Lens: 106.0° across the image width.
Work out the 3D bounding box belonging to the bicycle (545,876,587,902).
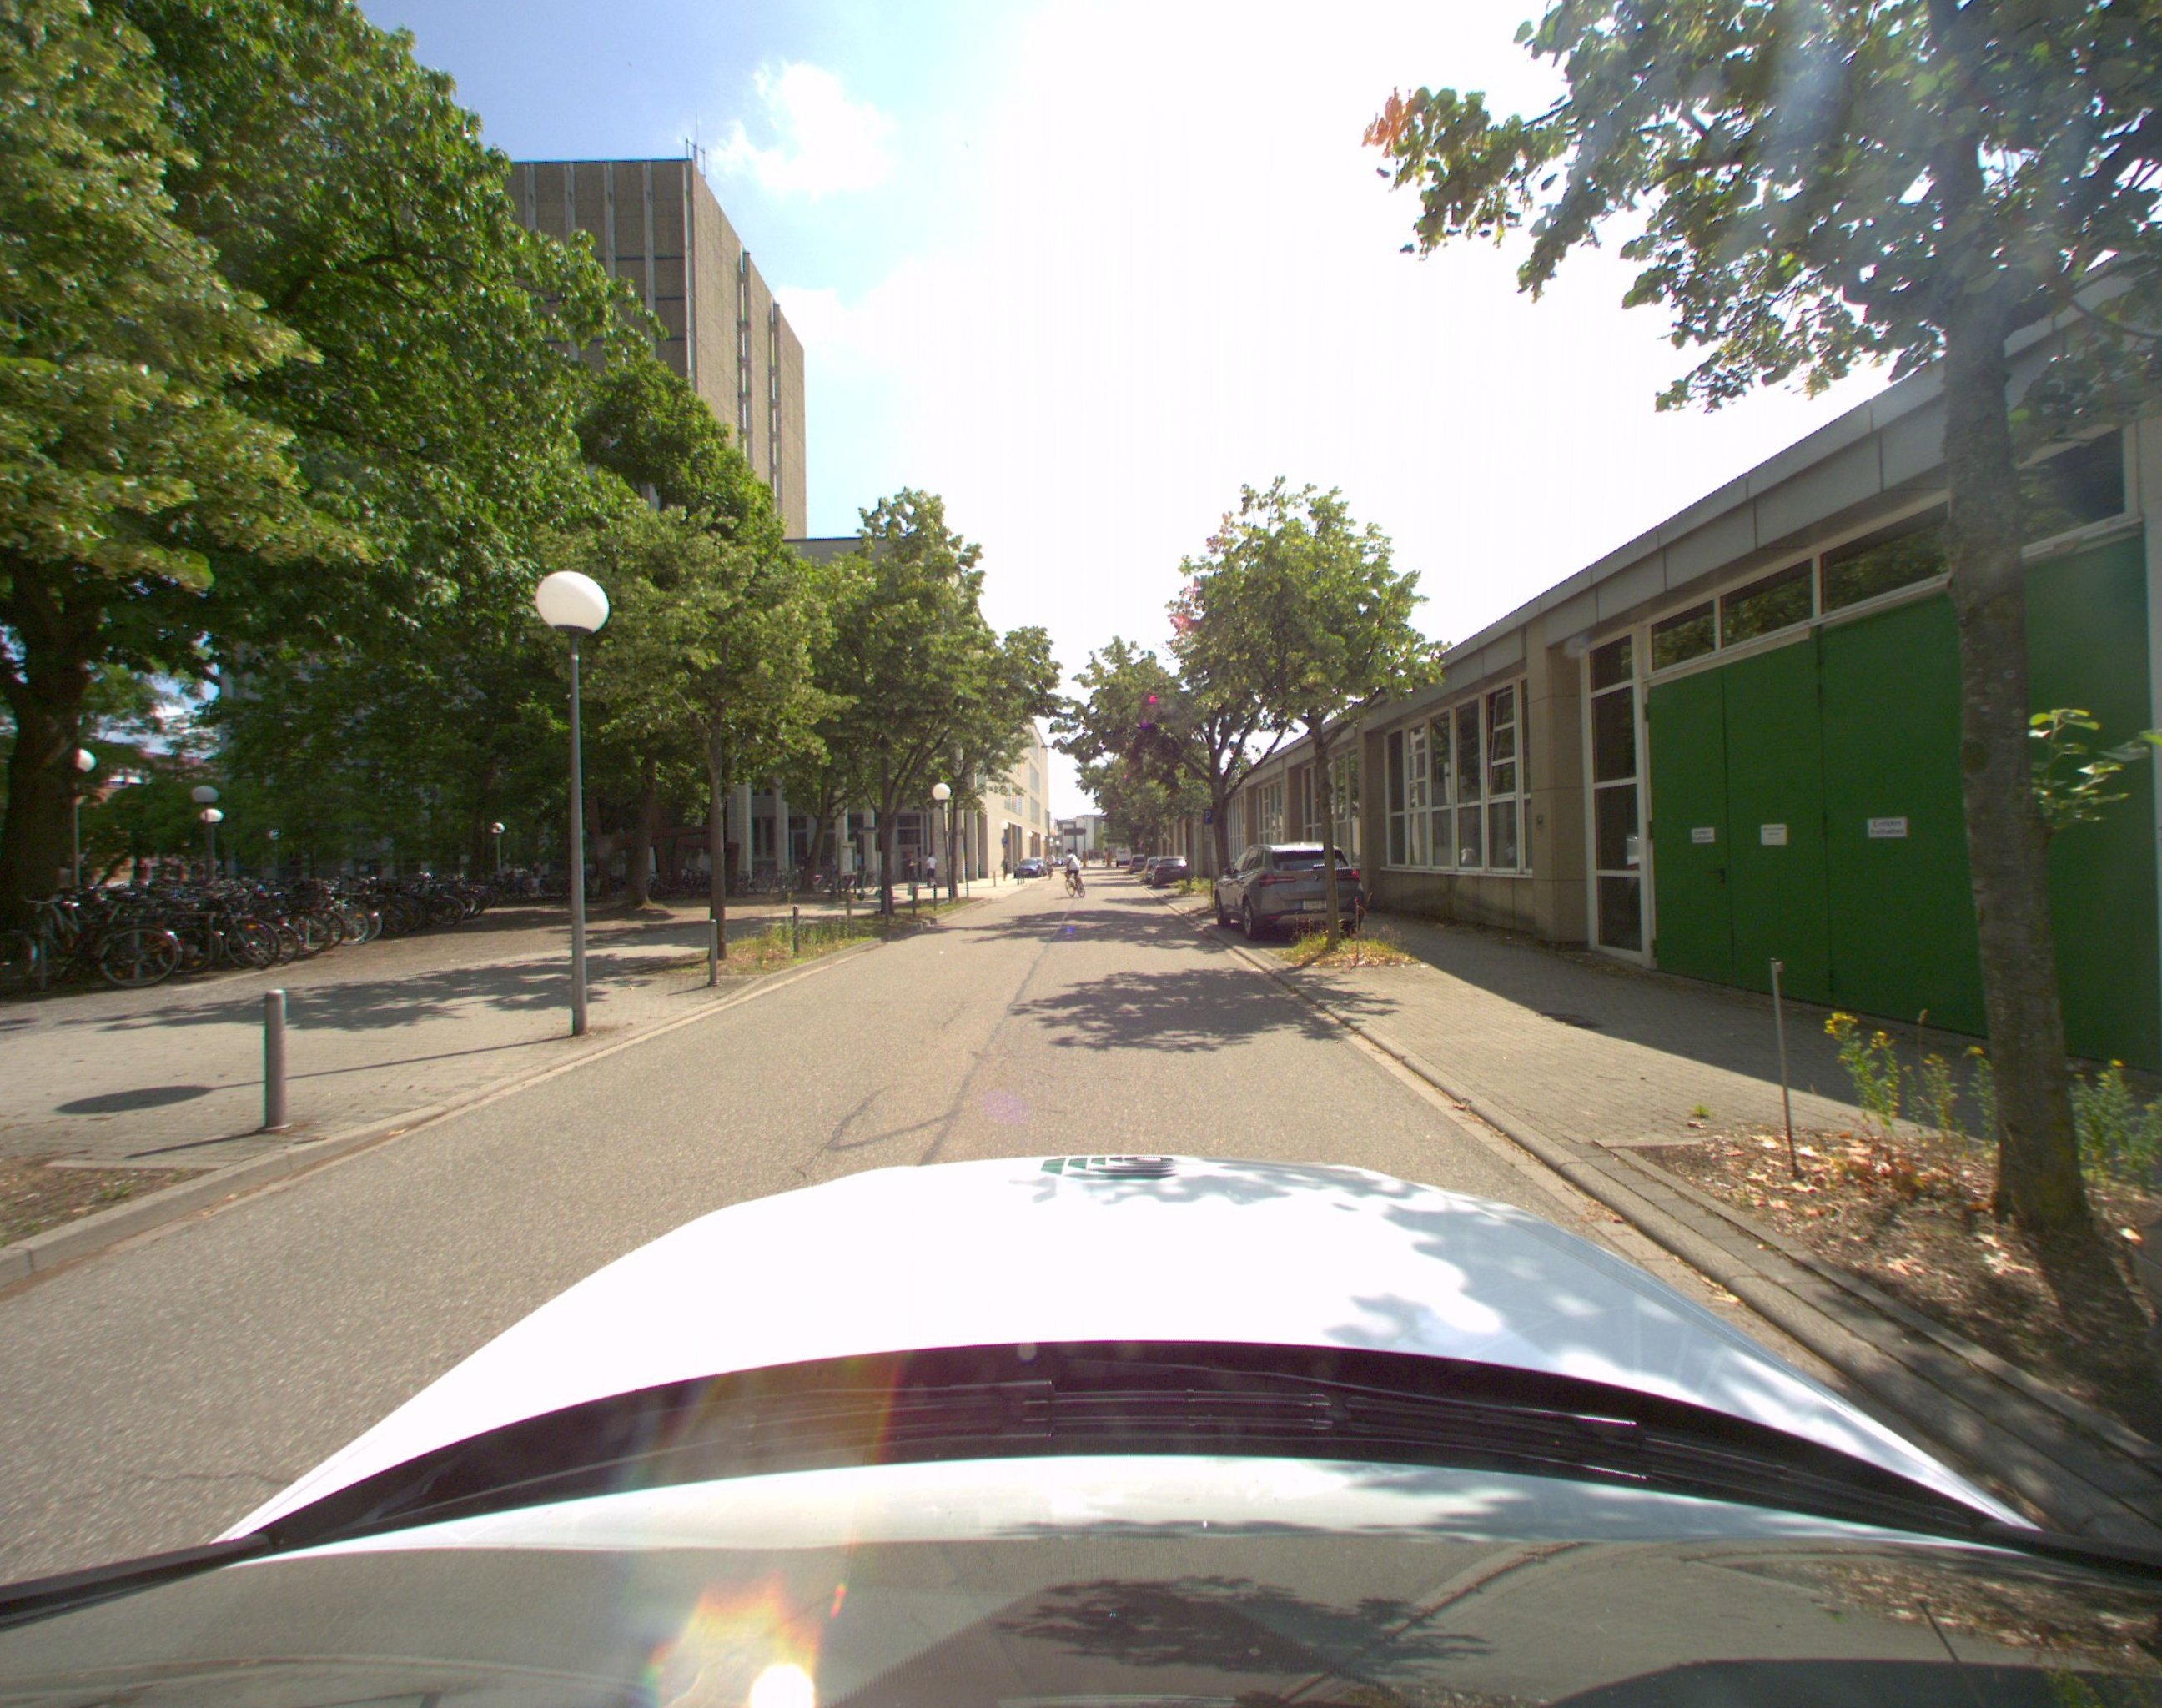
[{"bbox_3d":[-23.098,1.549,36.547,0.550,1.086,1.973,1,0,1],"label":"bicycle"}]

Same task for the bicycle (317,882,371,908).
[{"bbox_3d":[-32.752,1.815,36.240,0.550,1.086,1.973,1,0,1],"label":"bicycle"}]

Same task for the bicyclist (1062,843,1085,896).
[{"bbox_3d":[-0.297,0.582,31.405,0.871,2.014,0.849,-1,-1,-2],"label":"bicyclist"}]

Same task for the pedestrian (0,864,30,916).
[{"bbox_3d":[-35.613,1.185,27.207,0.414,1.714,0.539,0,-1,-29],"label":"pedestrian"}]

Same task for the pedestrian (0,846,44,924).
[{"bbox_3d":[-26.762,0.774,20.485,0.650,1.934,0.689,0,0,-34],"label":"pedestrian"}]

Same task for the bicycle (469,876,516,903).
[{"bbox_3d":[-25.841,1.543,35.801,0.550,1.086,1.973,1,0,1],"label":"bicycle"}]

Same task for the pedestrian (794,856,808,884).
[{"bbox_3d":[-16.997,0.984,49.416,0.638,1.661,0.687,-1,-1,-35],"label":"pedestrian"}]

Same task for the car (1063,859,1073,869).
[{"bbox_3d":[-2.237,1.696,139.886,1.640,1.498,3.729,-2,-2,1],"label":"car"}]

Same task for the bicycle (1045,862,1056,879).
[{"bbox_3d":[-2.133,1.172,57.782,0.683,1.130,1.888,-2,0,-1],"label":"bicycle"}]

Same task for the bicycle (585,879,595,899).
[{"bbox_3d":[-20.129,1.433,33.352,0.324,0.763,1.544,0,0,-32],"label":"bicycle"}]

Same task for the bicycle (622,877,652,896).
[{"bbox_3d":[-24.236,1.762,44.522,0.523,0.946,1.994,-1,0,1],"label":"bicycle"}]

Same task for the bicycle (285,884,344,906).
[{"bbox_3d":[-34.095,1.827,36.261,0.417,0.875,2.285,0,0,1],"label":"bicycle"}]

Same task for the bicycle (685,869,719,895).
[{"bbox_3d":[-15.649,1.146,33.656,0.473,1.032,1.851,-1,0,2],"label":"bicycle"}]

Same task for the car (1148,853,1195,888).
[{"bbox_3d":[4.269,0.756,39.088,1.774,1.476,4.463,-3,0,1],"label":"car"}]

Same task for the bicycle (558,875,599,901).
[{"bbox_3d":[-22.449,1.526,36.436,0.550,1.086,1.973,1,0,1],"label":"bicycle"}]

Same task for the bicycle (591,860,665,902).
[{"bbox_3d":[-16.303,0.945,29.322,2.298,1.450,0.601,-1,-1,-32],"label":"bicycle"}]

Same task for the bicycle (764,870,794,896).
[{"bbox_3d":[-13.424,1.261,36.260,0.550,1.086,1.973,1,0,1],"label":"bicycle"}]

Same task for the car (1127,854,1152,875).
[{"bbox_3d":[4.801,0.842,66.961,1.851,1.574,4.002,-3,0,2],"label":"car"}]

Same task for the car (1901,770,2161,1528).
[{"bbox_3d":[3.069,0.573,0.109,1.699,1.574,4.139,-2,0,0],"label":"car"}]

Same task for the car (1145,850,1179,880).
[{"bbox_3d":[4.402,0.601,44.762,1.610,1.538,3.781,-1,0,2],"label":"car"}]

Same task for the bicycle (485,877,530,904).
[{"bbox_3d":[-25.209,1.583,35.840,0.550,1.086,1.973,1,0,1],"label":"bicycle"}]

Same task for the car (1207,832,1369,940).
[{"bbox_3d":[3.707,0.567,15.485,1.817,1.664,4.582,-3,-1,0],"label":"car"}]

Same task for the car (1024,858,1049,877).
[{"bbox_3d":[-3.622,1.101,66.918,1.625,1.485,4.179,-1,-1,2],"label":"car"}]

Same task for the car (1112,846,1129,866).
[{"bbox_3d":[5.147,0.259,106.587,2.076,2.539,4.316,0,0,1],"label":"car"}]

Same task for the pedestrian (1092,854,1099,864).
[{"bbox_3d":[3.189,1.120,174.238,1.413,2.107,0.994,0,0,-2],"label":"pedestrian"}]

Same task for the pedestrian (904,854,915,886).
[{"bbox_3d":[-9.318,0.867,44.305,0.443,1.775,0.447,-1,-1,-29],"label":"pedestrian"}]

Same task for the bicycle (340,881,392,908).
[{"bbox_3d":[-32.007,1.803,36.500,0.550,1.086,1.973,1,0,1],"label":"bicycle"}]

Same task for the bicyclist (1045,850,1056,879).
[{"bbox_3d":[-2.156,0.739,57.716,0.709,2.013,1.018,-3,0,-1],"label":"bicyclist"}]

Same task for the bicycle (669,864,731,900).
[{"bbox_3d":[-14.285,1.028,30.556,2.028,1.254,0.581,-2,0,-31],"label":"bicycle"}]

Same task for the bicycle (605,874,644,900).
[{"bbox_3d":[-20.313,1.458,36.259,0.550,1.086,1.973,1,0,1],"label":"bicycle"}]

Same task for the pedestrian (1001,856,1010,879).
[{"bbox_3d":[-5.757,1.032,62.121,0.649,1.701,0.886,-1,-1,-9],"label":"pedestrian"}]

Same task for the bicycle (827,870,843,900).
[{"bbox_3d":[-8.985,1.125,29.778,0.382,1.025,1.808,-1,0,-11],"label":"bicycle"}]

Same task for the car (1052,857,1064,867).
[{"bbox_3d":[-3.542,1.300,127.767,1.640,1.498,3.729,-2,-2,1],"label":"car"}]

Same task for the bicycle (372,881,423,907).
[{"bbox_3d":[-30.594,1.762,36.485,0.550,1.086,1.973,1,0,1],"label":"bicycle"}]

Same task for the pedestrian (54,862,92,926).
[{"bbox_3d":[-32.370,1.263,26.150,0.528,2.014,0.595,-1,-1,16],"label":"pedestrian"}]

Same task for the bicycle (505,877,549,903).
[{"bbox_3d":[-24.363,1.560,35.849,0.550,1.086,1.973,1,0,1],"label":"bicycle"}]

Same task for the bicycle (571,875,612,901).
[{"bbox_3d":[-21.794,1.502,36.289,0.550,1.086,1.973,1,0,1],"label":"bicycle"}]

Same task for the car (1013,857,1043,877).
[{"bbox_3d":[-3.993,1.001,62.287,1.759,1.427,4.237,-1,-1,3],"label":"car"}]

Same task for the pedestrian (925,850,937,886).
[{"bbox_3d":[-8.042,0.745,43.665,0.415,1.942,0.657,0,-1,-28],"label":"pedestrian"}]

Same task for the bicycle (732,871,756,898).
[{"bbox_3d":[-12.981,1.153,31.389,0.475,0.965,1.651,-1,0,-10],"label":"bicycle"}]

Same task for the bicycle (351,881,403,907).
[{"bbox_3d":[-31.239,1.769,36.175,0.550,1.086,1.973,1,0,1],"label":"bicycle"}]

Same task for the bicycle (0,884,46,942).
[{"bbox_3d":[-21.339,1.141,15.496,1.972,1.089,0.542,0,0,-28],"label":"bicycle"}]

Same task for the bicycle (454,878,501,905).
[{"bbox_3d":[-26.543,1.622,35.849,0.550,1.086,1.973,1,0,1],"label":"bicycle"}]

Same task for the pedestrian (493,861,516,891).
[{"bbox_3d":[-31.250,1.174,44.134,0.824,1.593,0.598,-1,-1,3],"label":"pedestrian"}]

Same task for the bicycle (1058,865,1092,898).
[{"bbox_3d":[-0.256,1.020,31.466,0.882,1.200,2.740,-1,0,-9],"label":"bicycle"}]

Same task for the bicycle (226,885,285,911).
[{"bbox_3d":[-37.177,1.959,36.711,0.550,1.086,1.973,1,0,1],"label":"bicycle"}]

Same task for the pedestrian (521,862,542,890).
[{"bbox_3d":[-30.167,1.210,44.681,0.702,1.540,0.717,-1,-1,-9],"label":"pedestrian"}]
